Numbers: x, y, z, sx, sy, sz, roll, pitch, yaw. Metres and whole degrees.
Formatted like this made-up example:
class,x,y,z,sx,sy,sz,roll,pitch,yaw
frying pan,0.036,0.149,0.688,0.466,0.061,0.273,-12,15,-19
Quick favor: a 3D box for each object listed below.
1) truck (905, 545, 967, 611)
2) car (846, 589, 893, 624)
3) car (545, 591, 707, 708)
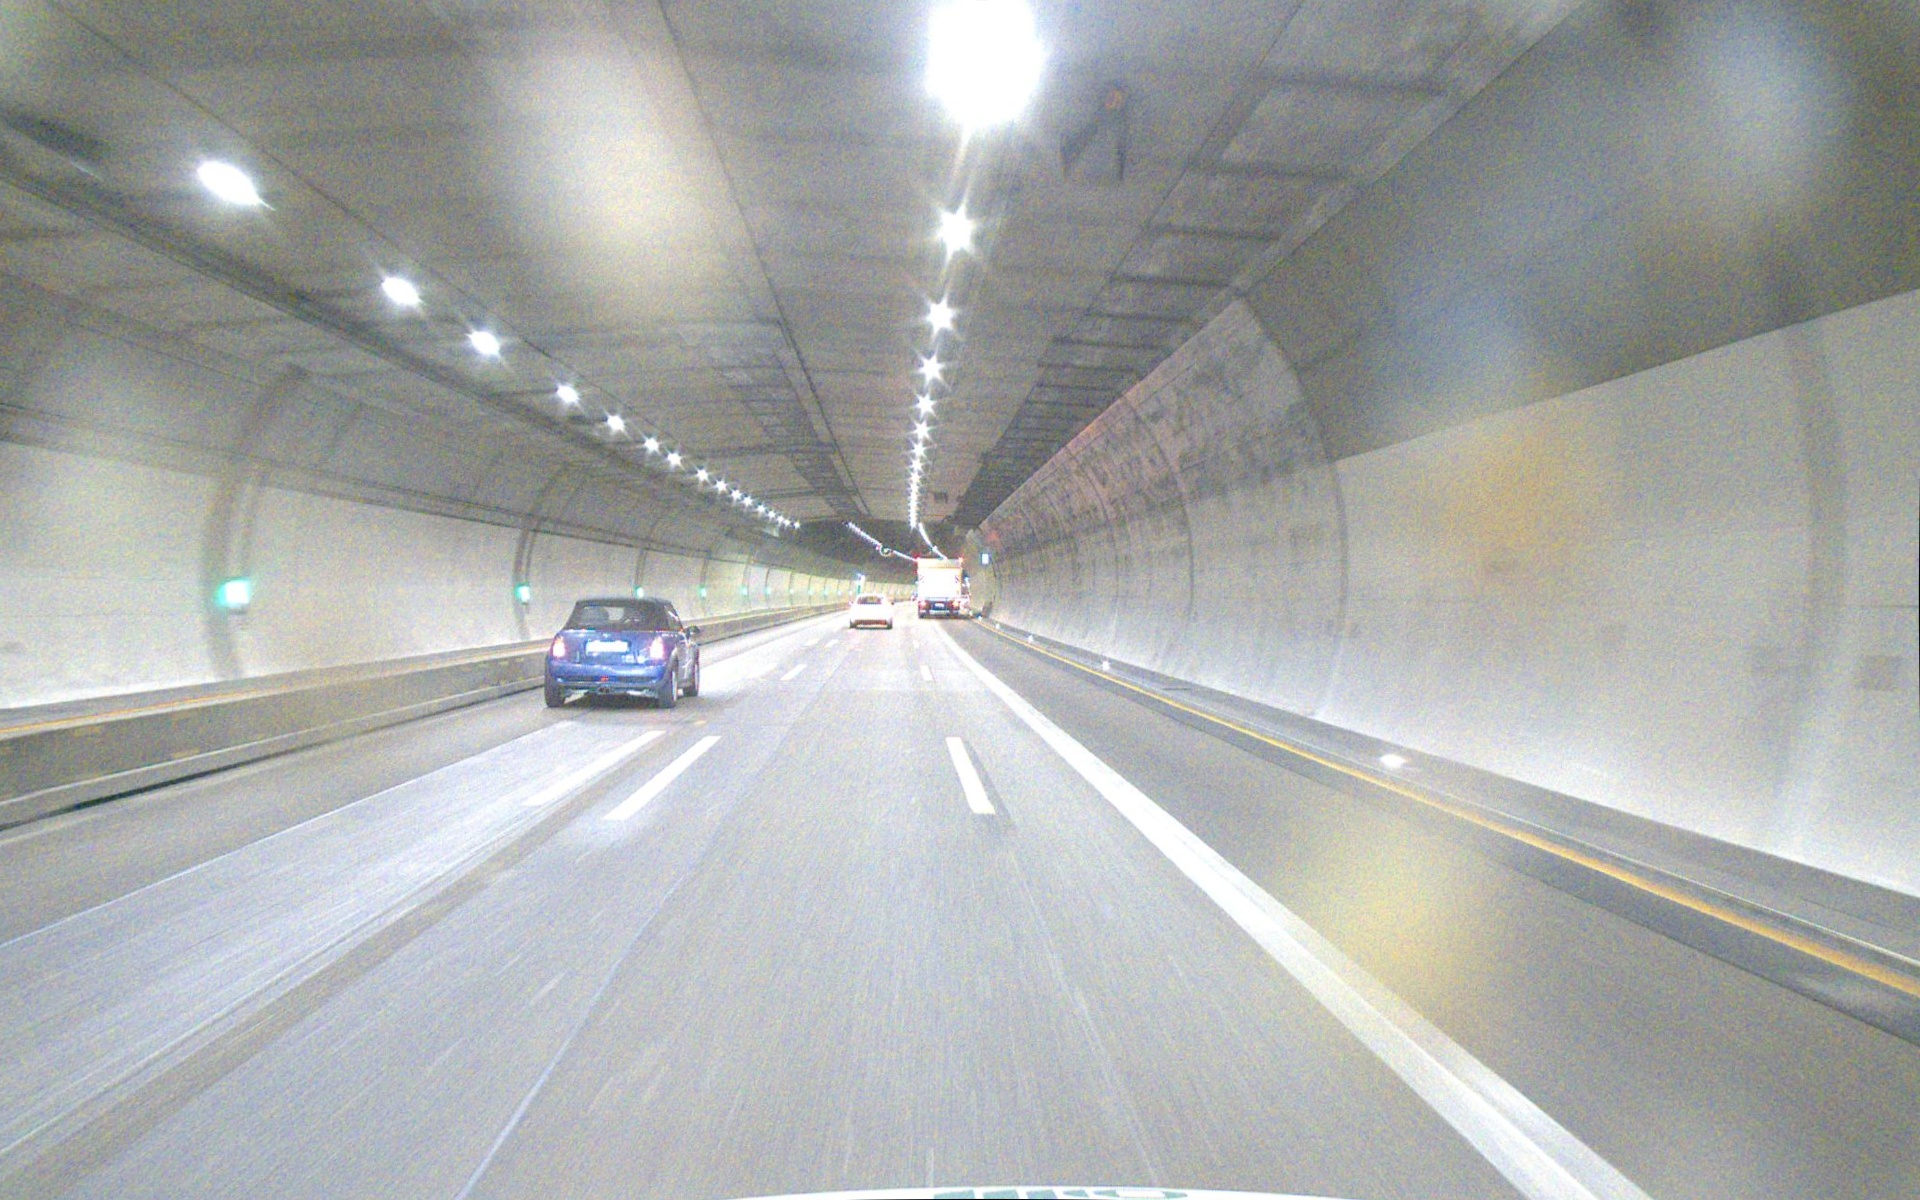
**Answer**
class,x,y,z,sx,sy,sz,roll,pitch,yaw
truck,-1.423,-1.291,99.958,3.519,3.714,10.721,0,0,-1
car,-3.913,0.246,71.139,1.954,1.437,4.739,0,0,-4
car,-4.469,0.613,22.617,1.656,1.442,3.920,1,0,-4
